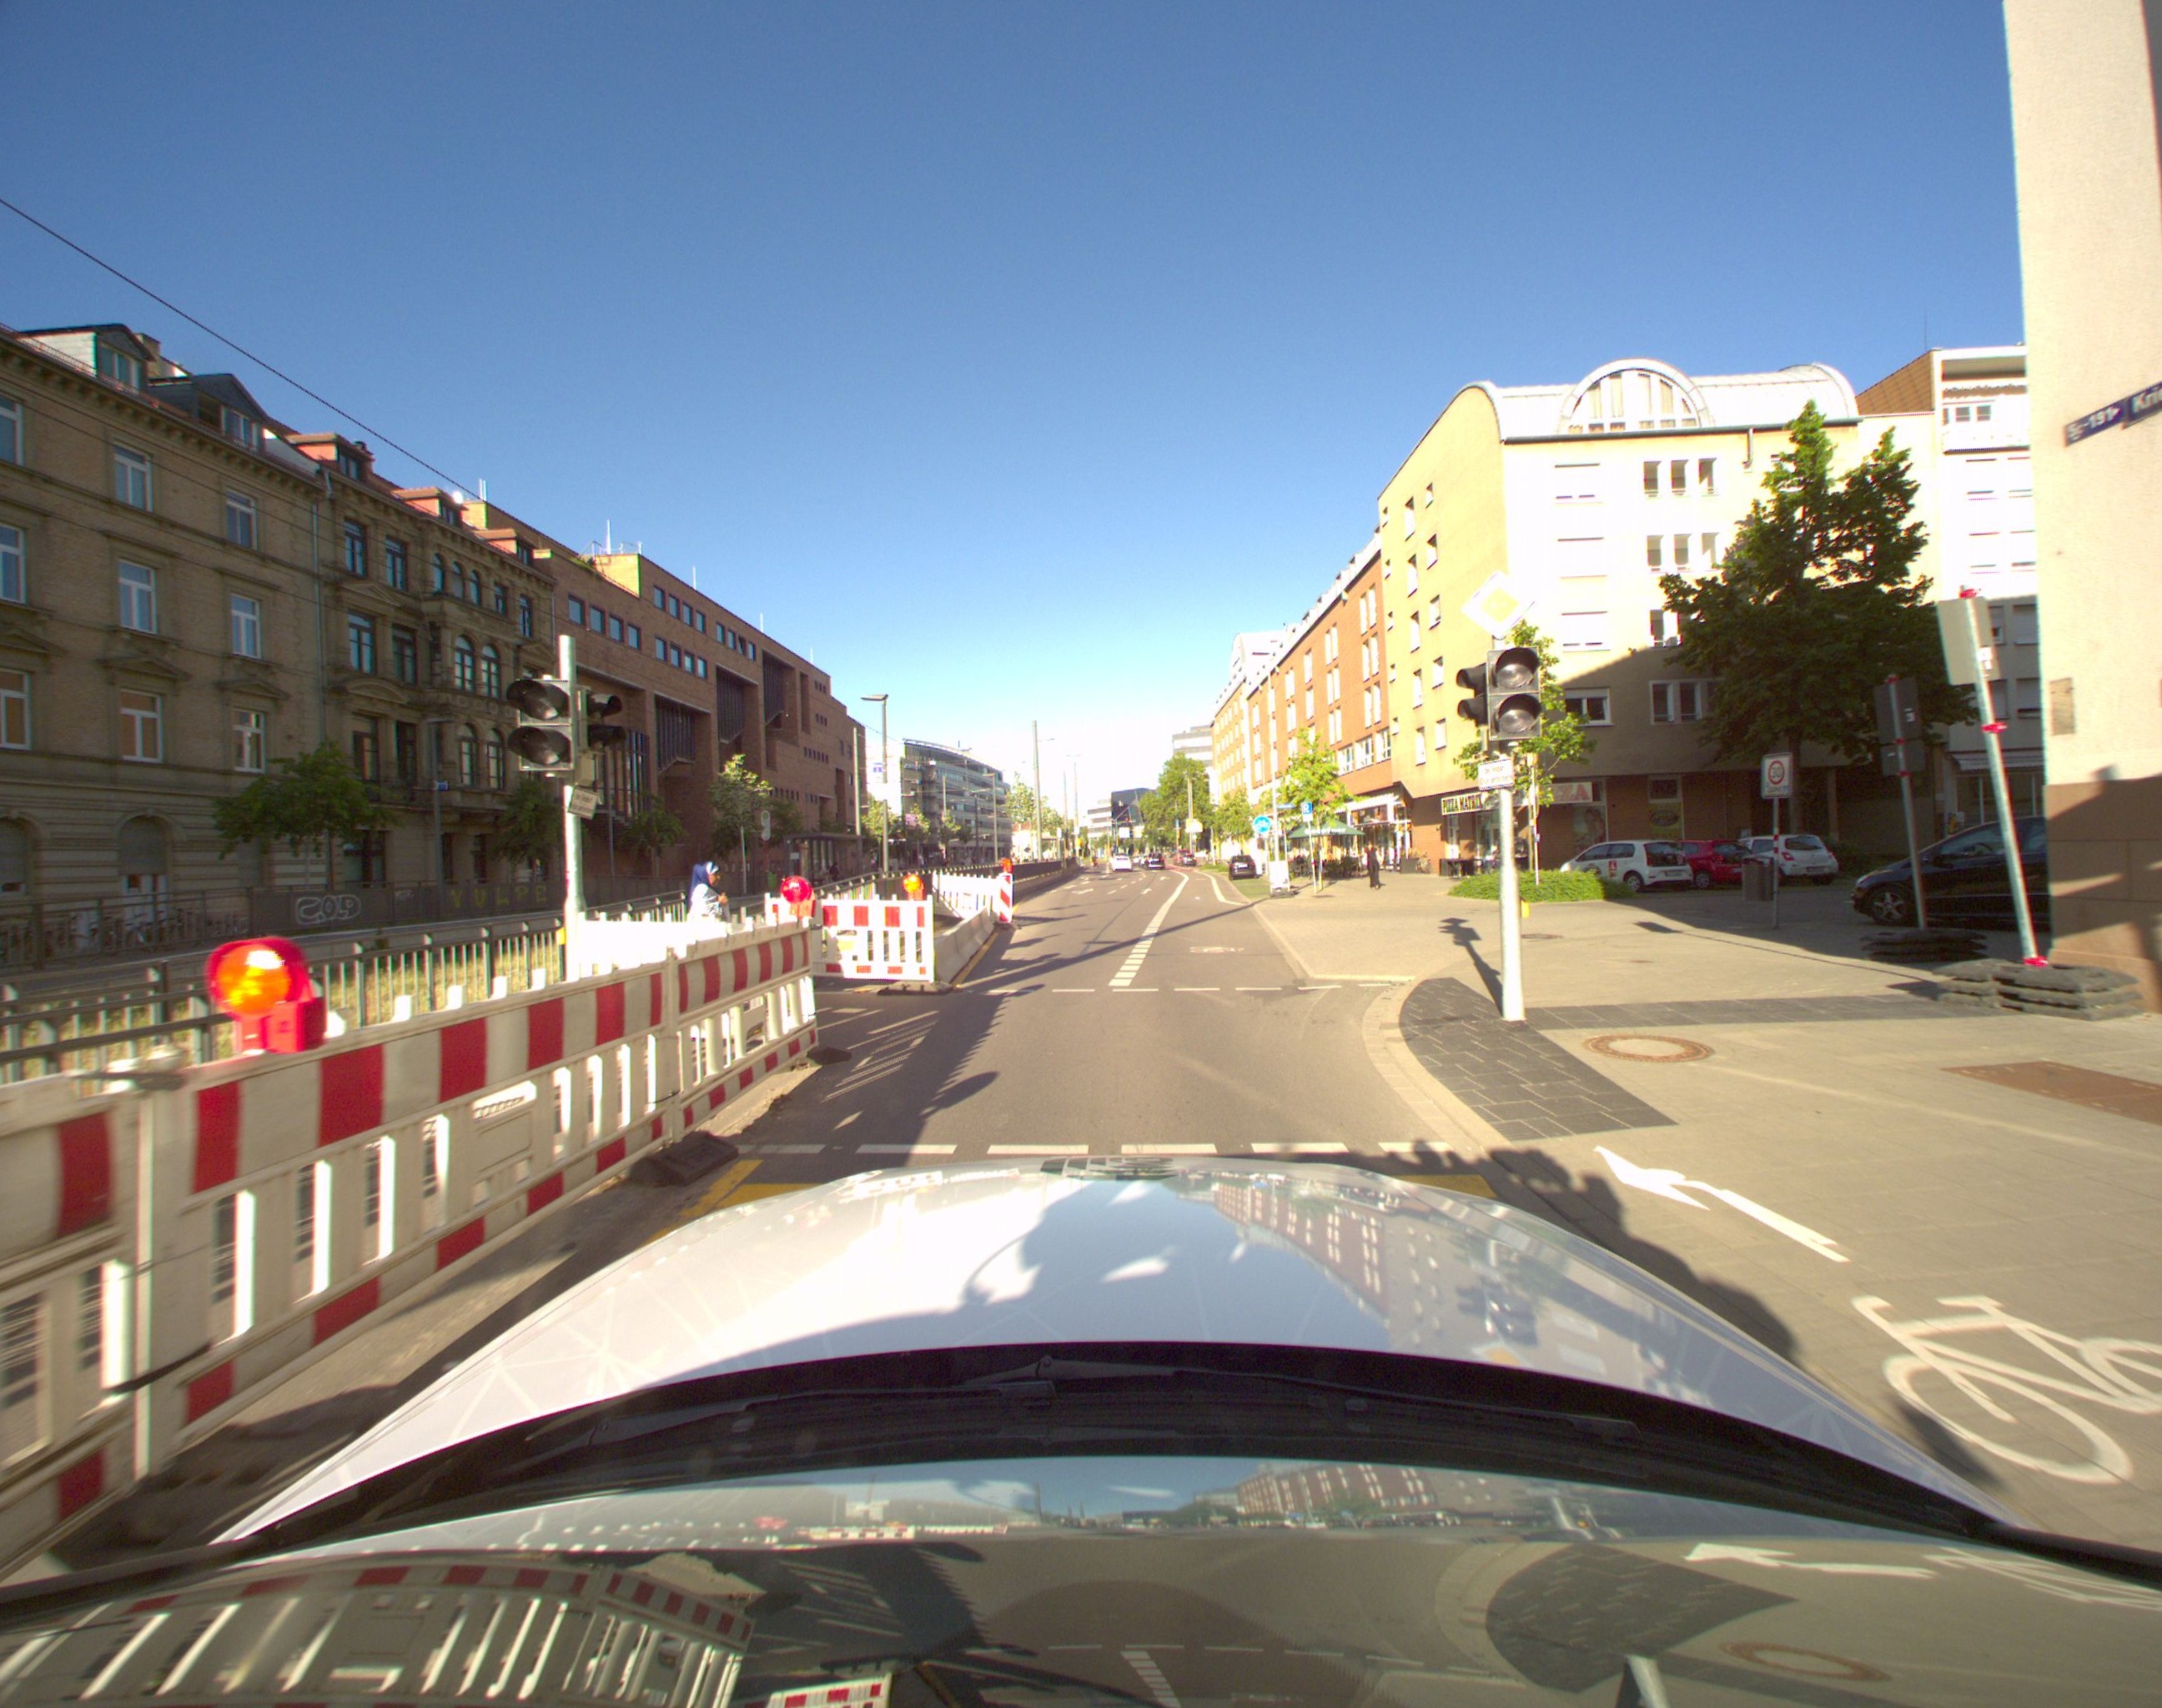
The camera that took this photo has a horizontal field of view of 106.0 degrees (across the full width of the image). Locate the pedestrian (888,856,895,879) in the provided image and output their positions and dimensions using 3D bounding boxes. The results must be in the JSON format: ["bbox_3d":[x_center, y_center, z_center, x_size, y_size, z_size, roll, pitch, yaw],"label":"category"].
[{"bbox_3d":[-13.597,0.973,58.517,0.376,1.621,0.553,0,0,2],"label":"pedestrian"}]

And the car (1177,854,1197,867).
[{"bbox_3d":[12.235,0.730,94.076,1.839,1.560,4.635,0,0,2],"label":"car"}]

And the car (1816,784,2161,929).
[{"bbox_3d":[13.317,0.115,11.423,1.690,1.687,4.429,0,-3,-6],"label":"car"}]

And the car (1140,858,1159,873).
[{"bbox_3d":[7.473,1.263,89.254,1.844,1.640,4.380,-1,-1,2],"label":"car"}]

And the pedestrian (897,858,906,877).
[{"bbox_3d":[-13.500,1.001,61.180,0.537,1.459,0.643,0,0,2],"label":"pedestrian"}]

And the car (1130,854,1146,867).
[{"bbox_3d":[7.389,0.822,106.427,1.844,1.497,4.381,-1,0,2],"label":"car"}]

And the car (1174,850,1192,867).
[{"bbox_3d":[12.586,0.531,100.358,1.852,1.961,4.003,-2,0,3],"label":"car"}]

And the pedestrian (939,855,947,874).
[{"bbox_3d":[-13.015,0.962,76.835,0.579,1.738,0.616,-1,0,2],"label":"pedestrian"}]

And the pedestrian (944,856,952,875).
[{"bbox_3d":[-12.027,1.009,73.791,0.638,1.696,0.541,0,0,2],"label":"pedestrian"}]

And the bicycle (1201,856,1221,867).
[{"bbox_3d":[13.138,0.731,82.186,1.929,1.022,0.504,-3,-1,19],"label":"bicycle"}]

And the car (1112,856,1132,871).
[{"bbox_3d":[3.854,0.865,76.346,1.774,1.414,4.820,0,0,2],"label":"car"}]

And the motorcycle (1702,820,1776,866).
[{"bbox_3d":[24.568,-0.409,30.408,2.252,1.607,0.652,-2,0,-2],"label":"motorcycle"}]

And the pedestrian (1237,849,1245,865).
[{"bbox_3d":[17.658,0.345,89.845,0.604,1.821,0.748,-2,-1,1],"label":"pedestrian"}]

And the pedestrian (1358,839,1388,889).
[{"bbox_3d":[10.729,0.356,29.887,0.876,1.763,1.111,-4,-2,21],"label":"pedestrian"}]

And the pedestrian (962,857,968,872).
[{"bbox_3d":[-13.138,1.203,92.228,0.561,1.609,0.616,-1,0,2],"label":"pedestrian"}]

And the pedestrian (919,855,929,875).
[{"bbox_3d":[-13.415,0.946,69.633,0.620,1.714,0.616,-1,0,2],"label":"pedestrian"}]

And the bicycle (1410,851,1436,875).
[{"bbox_3d":[17.334,0.463,41.325,0.612,1.169,1.536,-4,0,-1],"label":"bicycle"}]

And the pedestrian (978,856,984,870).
[{"bbox_3d":[-12.964,1.118,105.525,0.611,1.817,0.897,-1,0,2],"label":"pedestrian"}]

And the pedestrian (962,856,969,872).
[{"bbox_3d":[-12.137,1.055,85.623,0.638,1.608,0.946,0,0,2],"label":"pedestrian"}]

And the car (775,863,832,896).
[{"bbox_3d":[-17.002,1.531,50.108,1.988,1.880,4.580,-2,0,-2],"label":"car"}]

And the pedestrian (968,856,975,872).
[{"bbox_3d":[-11.492,1.067,85.604,0.638,1.643,0.946,0,0,2],"label":"pedestrian"}]

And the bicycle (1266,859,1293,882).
[{"bbox_3d":[10.435,0.851,42.794,0.763,1.081,1.996,-7,-1,-2],"label":"bicycle"}]

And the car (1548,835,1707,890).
[{"bbox_3d":[15.657,0.221,23.583,1.662,1.474,3.824,0,0,-10],"label":"car"}]

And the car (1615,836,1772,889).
[{"bbox_3d":[17.892,0.229,24.003,1.631,1.453,3.646,0,0,-8],"label":"car"}]

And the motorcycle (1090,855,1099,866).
[{"bbox_3d":[1.710,0.799,102.081,1.015,1.312,2.916,0,0,2],"label":"motorcycle"}]

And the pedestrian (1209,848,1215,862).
[{"bbox_3d":[17.482,0.190,108.623,0.604,1.821,0.748,-2,-1,1],"label":"pedestrian"}]

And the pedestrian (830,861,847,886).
[{"bbox_3d":[-13.372,1.075,44.910,0.643,1.309,0.722,-4,0,2],"label":"pedestrian"}]

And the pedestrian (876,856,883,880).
[{"bbox_3d":[-13.787,0.940,55.772,0.376,1.648,0.416,0,0,2],"label":"pedestrian"}]

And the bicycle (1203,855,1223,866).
[{"bbox_3d":[13.557,0.682,83.402,1.932,1.075,0.556,-3,-1,12],"label":"bicycle"}]

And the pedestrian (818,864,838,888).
[{"bbox_3d":[-13.317,1.148,42.868,0.718,1.168,0.722,-4,0,2],"label":"pedestrian"}]

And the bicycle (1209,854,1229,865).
[{"bbox_3d":[14.612,0.592,86.284,1.931,1.074,0.628,-3,-1,13],"label":"bicycle"}]

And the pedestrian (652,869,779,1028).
[{"bbox_3d":[-3.630,0.904,8.172,0.787,1.457,0.946,-2,0,-1],"label":"pedestrian"}]

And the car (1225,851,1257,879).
[{"bbox_3d":[10.318,0.702,52.737,1.711,1.636,4.241,-3,0,8],"label":"car"}]

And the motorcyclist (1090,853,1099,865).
[{"bbox_3d":[1.703,0.625,102.090,1.015,1.603,1.149,0,0,2],"label":"motorcyclist"}]

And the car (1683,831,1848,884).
[{"bbox_3d":[20.272,0.100,24.319,1.629,1.455,3.728,0,0,-5],"label":"car"}]

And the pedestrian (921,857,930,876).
[{"bbox_3d":[-13.386,1.108,70.258,0.620,1.612,0.616,-1,0,2],"label":"pedestrian"}]

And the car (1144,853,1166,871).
[{"bbox_3d":[7.418,0.819,81.833,1.967,1.759,4.635,0,0,2],"label":"car"}]
